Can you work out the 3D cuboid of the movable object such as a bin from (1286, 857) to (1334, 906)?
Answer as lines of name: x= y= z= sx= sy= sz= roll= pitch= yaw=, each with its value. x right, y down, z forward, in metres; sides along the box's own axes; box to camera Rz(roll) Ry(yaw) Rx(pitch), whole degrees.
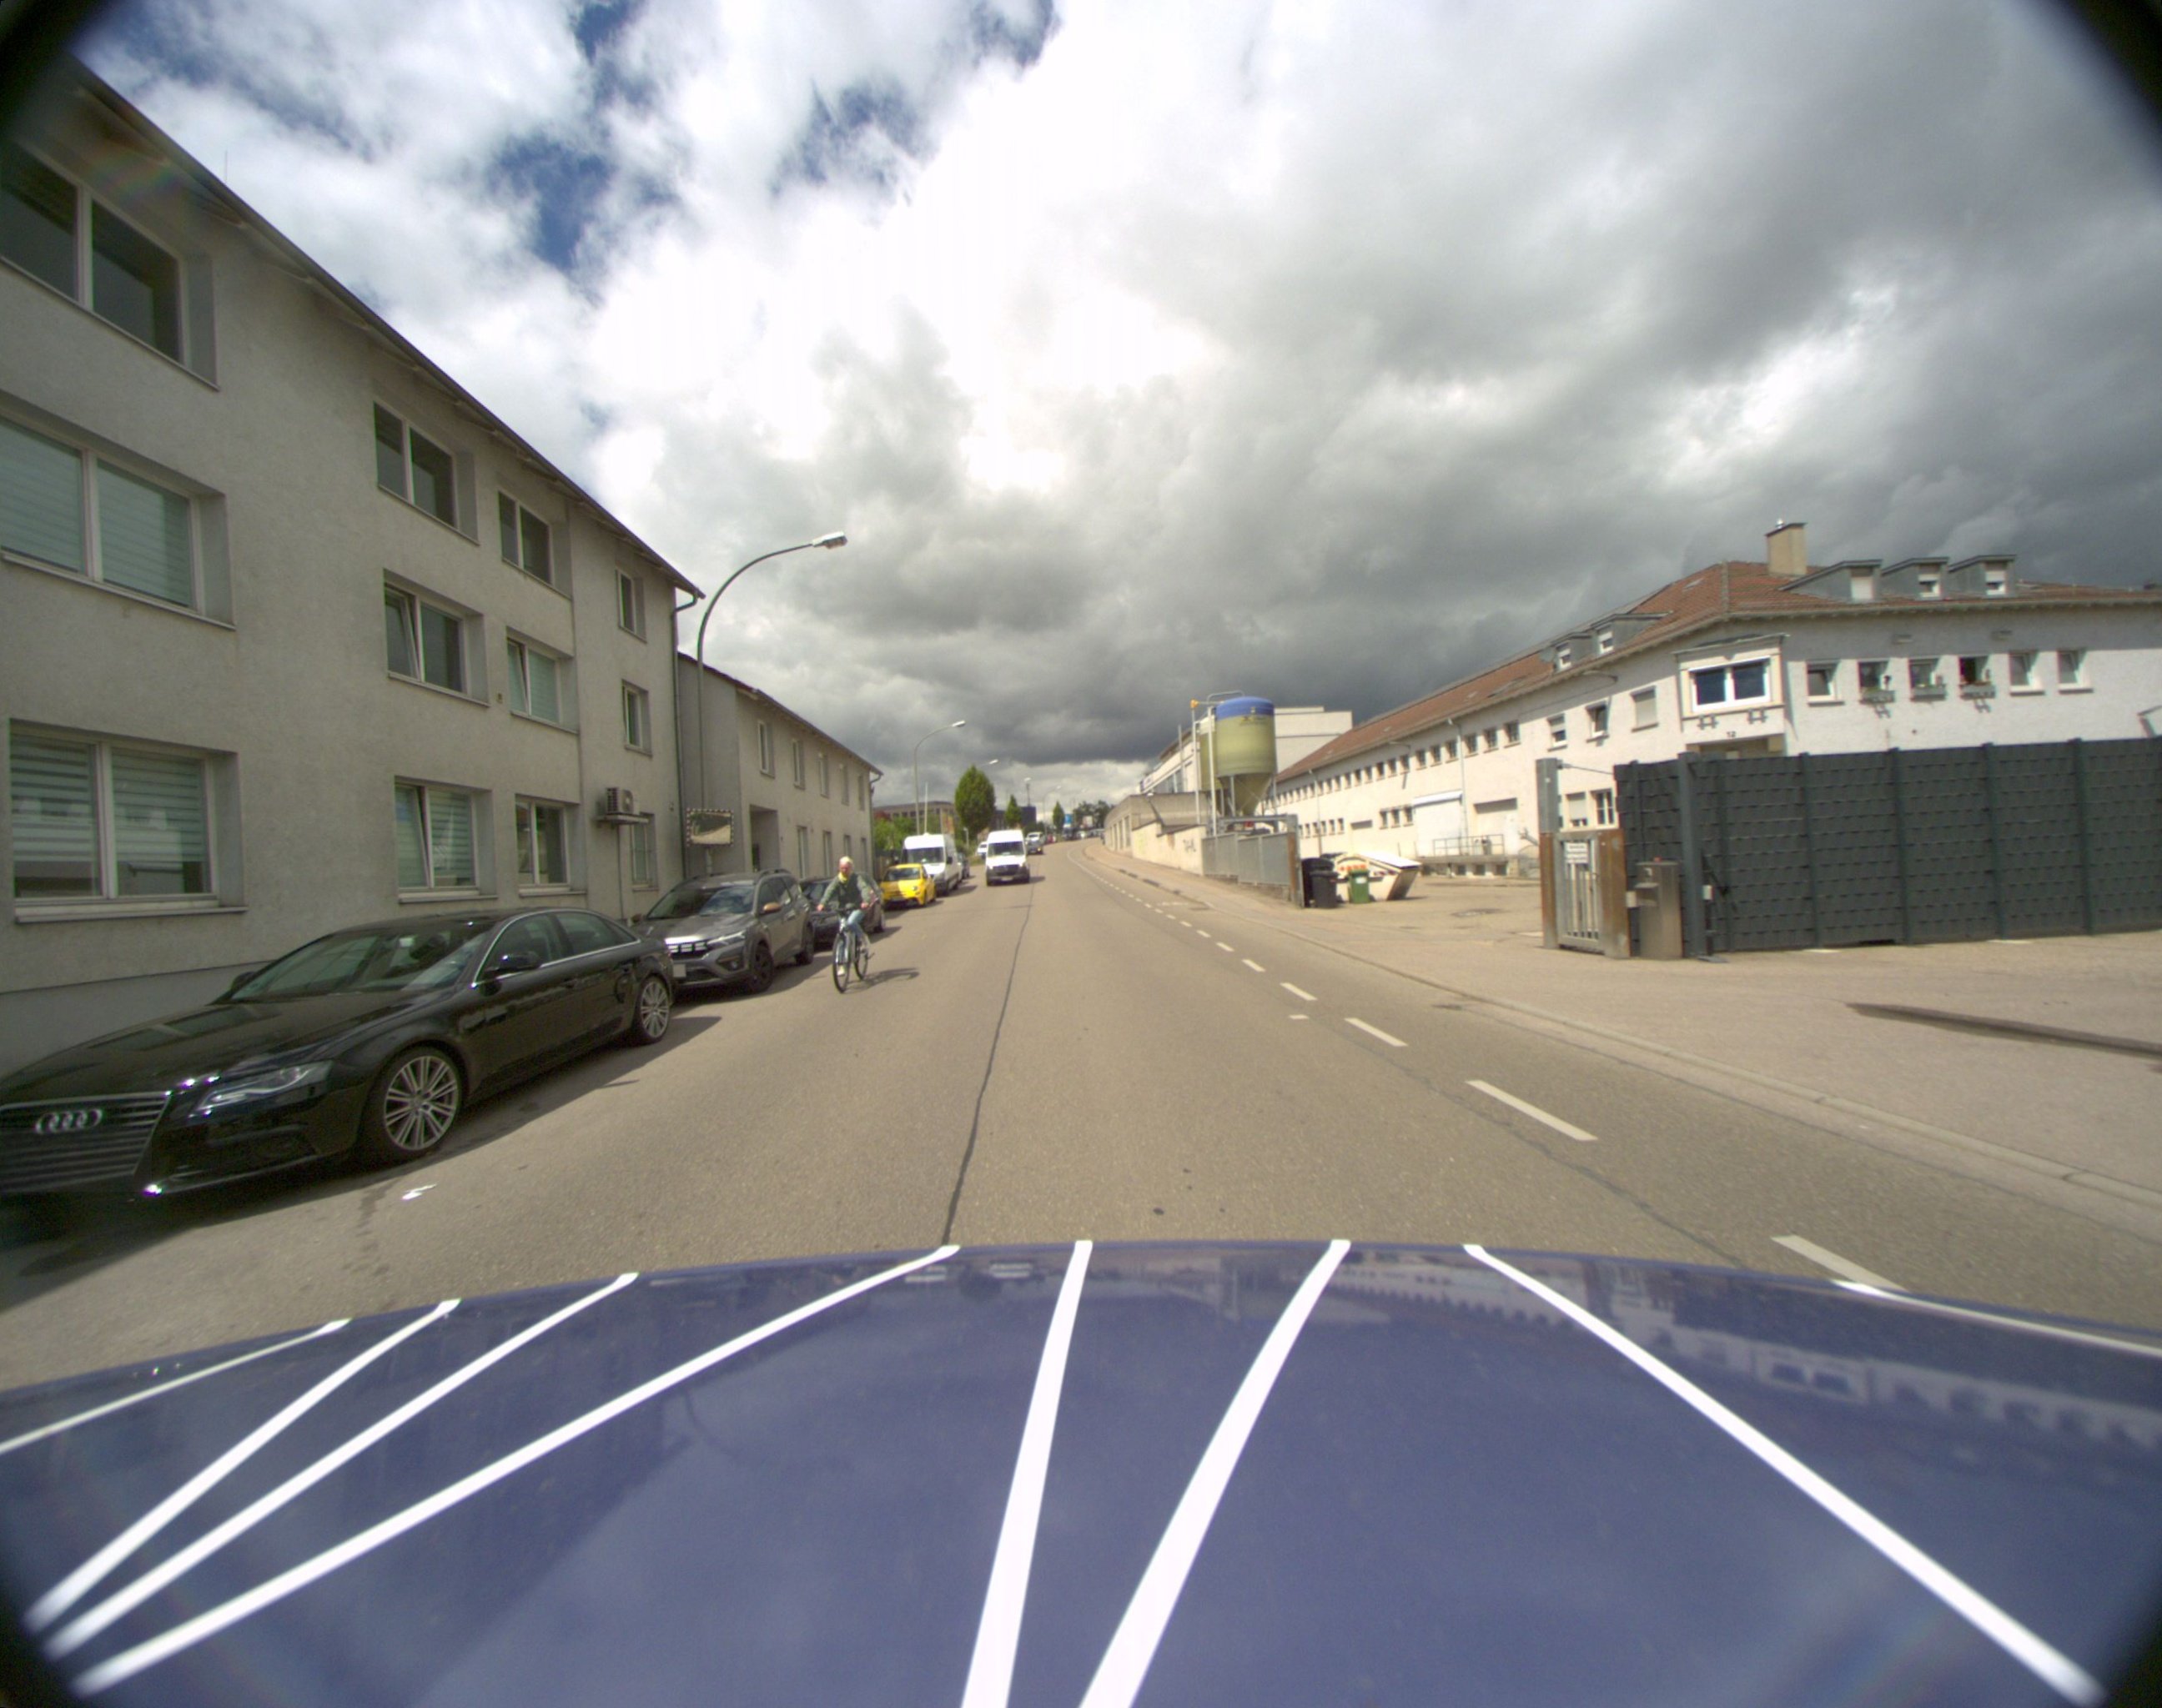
movable object such as a bin: x=6.660 y=0.780 z=22.144 sx=0.993 sy=1.385 sz=1.215 roll=-1 pitch=0 yaw=-2

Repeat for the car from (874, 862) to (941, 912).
car: x=-6.054 y=1.118 z=26.903 sx=1.597 sy=1.439 sz=3.788 roll=-3 pitch=1 yaw=-3

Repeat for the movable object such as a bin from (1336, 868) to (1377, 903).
movable object such as a bin: x=8.404 y=0.948 z=23.197 sx=0.736 sy=0.996 sz=0.857 roll=-3 pitch=0 yaw=-20

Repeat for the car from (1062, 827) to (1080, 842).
car: x=-1.810 y=-3.693 z=142.907 sx=2.058 sy=2.580 sz=5.737 roll=-2 pitch=2 yaw=11

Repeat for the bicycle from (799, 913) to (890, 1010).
bicycle: x=-3.063 y=1.355 z=10.010 sx=0.742 sy=0.969 sz=1.731 roll=-3 pitch=1 yaw=-6

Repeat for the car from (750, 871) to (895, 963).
car: x=-5.476 y=1.233 z=16.848 sx=1.709 sy=1.501 sz=5.085 roll=-5 pitch=0 yaw=-4

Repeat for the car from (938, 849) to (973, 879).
car: x=-7.274 y=0.552 z=44.412 sx=1.571 sy=1.502 sz=4.091 roll=-3 pitch=2 yaw=-4

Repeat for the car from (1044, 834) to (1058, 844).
car: x=-4.911 y=-2.490 z=125.449 sx=1.596 sy=1.473 sz=3.501 roll=-3 pitch=2 yaw=9

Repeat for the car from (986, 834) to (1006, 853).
car: x=-8.519 y=-1.080 z=76.456 sx=1.690 sy=1.650 sz=4.477 roll=-2 pitch=2 yaw=-3

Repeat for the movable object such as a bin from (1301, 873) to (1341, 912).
movable object such as a bin: x=6.665 y=1.068 z=21.171 sx=0.874 sy=1.044 sz=0.740 roll=-1 pitch=0 yaw=0

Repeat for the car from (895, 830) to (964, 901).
car: x=-6.517 y=0.351 z=33.513 sx=2.039 sy=2.627 sz=7.276 roll=-3 pitch=2 yaw=-5

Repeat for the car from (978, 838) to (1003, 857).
car: x=-8.340 y=-0.619 z=70.537 sx=1.847 sy=1.557 sz=4.463 roll=-1 pitch=2 yaw=-1

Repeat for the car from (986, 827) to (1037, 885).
car: x=-3.403 y=-0.005 z=38.123 sx=2.082 sy=2.577 sz=6.059 roll=-3 pitch=2 yaw=-2

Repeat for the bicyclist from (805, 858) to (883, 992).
bicyclist: x=-3.074 y=0.891 z=9.921 sx=0.742 sy=1.618 sz=0.731 roll=-3 pitch=3 yaw=-6

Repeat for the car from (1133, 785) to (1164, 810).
car: x=5.134 y=-4.307 z=58.224 sx=1.811 sy=1.628 sz=4.102 roll=-3 pitch=2 yaw=-2

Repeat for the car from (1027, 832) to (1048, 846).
car: x=-6.459 y=-2.265 z=113.706 sx=1.979 sy=1.993 sz=5.548 roll=-3 pitch=2 yaw=8

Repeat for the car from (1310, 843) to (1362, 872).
car: x=16.602 y=0.186 z=49.630 sx=1.811 sy=1.628 sz=4.102 roll=-3 pitch=2 yaw=-2

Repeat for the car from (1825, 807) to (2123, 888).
car: x=23.925 y=-0.169 z=20.773 sx=1.999 sy=1.821 sz=5.095 roll=-3 pitch=0 yaw=-3

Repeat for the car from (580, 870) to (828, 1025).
car: x=-5.229 y=1.141 z=11.347 sx=1.682 sy=1.628 sz=4.793 roll=-5 pitch=0 yaw=-7

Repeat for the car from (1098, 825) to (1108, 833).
car: x=4.095 y=-4.755 z=144.277 sx=1.804 sy=1.613 sz=4.091 roll=-2 pitch=2 yaw=1

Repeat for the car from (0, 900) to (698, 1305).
car: x=-4.845 y=1.236 z=5.660 sx=1.740 sy=1.415 sz=4.858 roll=-4 pitch=0 yaw=-4
